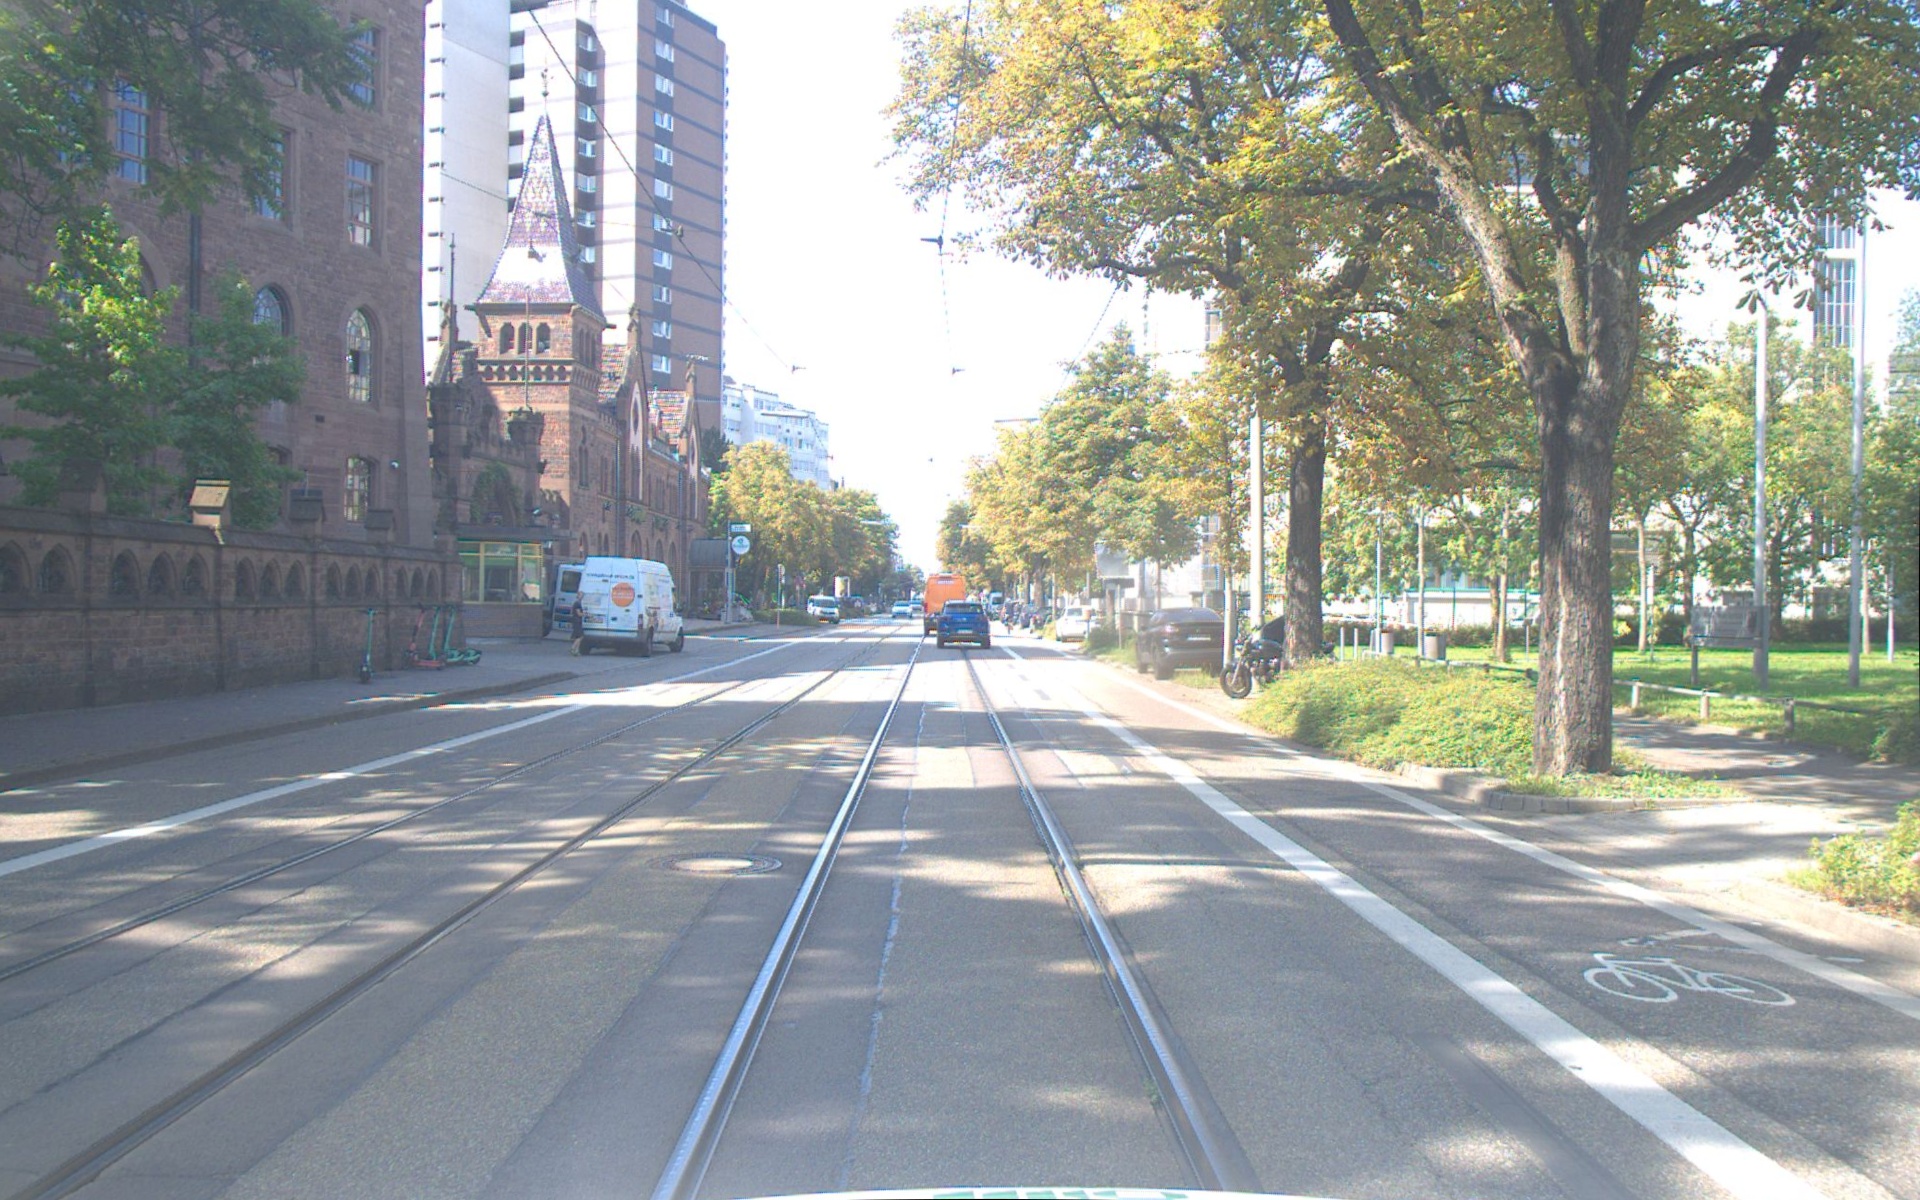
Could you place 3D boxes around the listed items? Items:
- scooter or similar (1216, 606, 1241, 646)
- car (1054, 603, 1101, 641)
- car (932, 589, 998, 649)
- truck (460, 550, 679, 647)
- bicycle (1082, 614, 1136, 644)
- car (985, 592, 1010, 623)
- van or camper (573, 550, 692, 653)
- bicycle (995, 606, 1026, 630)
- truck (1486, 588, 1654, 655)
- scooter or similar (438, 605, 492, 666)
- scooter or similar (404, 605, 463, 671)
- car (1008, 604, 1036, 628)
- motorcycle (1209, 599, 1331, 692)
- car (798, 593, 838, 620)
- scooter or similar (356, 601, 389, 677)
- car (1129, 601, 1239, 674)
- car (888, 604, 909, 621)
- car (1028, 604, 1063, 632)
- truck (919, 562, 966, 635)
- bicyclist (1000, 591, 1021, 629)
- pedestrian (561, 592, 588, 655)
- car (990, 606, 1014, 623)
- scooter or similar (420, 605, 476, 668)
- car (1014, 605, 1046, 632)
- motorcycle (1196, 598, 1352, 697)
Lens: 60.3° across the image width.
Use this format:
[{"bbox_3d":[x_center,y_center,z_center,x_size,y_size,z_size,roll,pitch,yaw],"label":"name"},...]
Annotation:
[{"bbox_3d":[8.720,0.826,53.747,0.544,1.281,1.818,1,0,2],"label":"scooter or similar"},{"bbox_3d":[4.860,0.894,68.762,1.625,1.507,4.216,0,0,0],"label":"car"},{"bbox_3d":[0.141,0.617,55.770,2.092,1.891,5.567,0,0,-1],"label":"car"},{"bbox_3d":[-12.165,-0.083,51.759,6.189,2.582,2.132,4,1,4],"label":"truck"},{"bbox_3d":[5.047,0.985,56.006,1.775,0.975,0.558,1,0,-1],"label":"bicycle"},{"bbox_3d":[3.473,0.666,152.978,1.953,2.804,5.759,1,0,-2],"label":"car"},{"bbox_3d":[-9.190,0.046,46.957,2.069,2.722,5.955,1,0,1],"label":"van or camper"},{"bbox_3d":[2.491,0.895,82.899,1.373,1.154,3.999,1,0,-1],"label":"bicycle"},{"bbox_3d":[22.709,0.777,61.734,5.393,2.367,2.299,1,0,0],"label":"truck"},{"bbox_3d":[-9.981,0.712,33.382,0.332,1.199,1.177,1,0,24],"label":"scooter or similar"},{"bbox_3d":[-9.883,0.708,31.077,0.332,1.199,1.177,1,0,24],"label":"scooter or similar"},{"bbox_3d":[4.155,1.056,111.780,1.600,1.612,4.187,1,0,-2],"label":"car"},{"bbox_3d":[5.392,0.764,28.925,0.839,1.542,2.436,1,0,-25],"label":"motorcycle"},{"bbox_3d":[-9.928,0.447,115.404,1.723,1.828,3.973,1,0,-22],"label":"car"},{"bbox_3d":[-9.507,0.613,26.782,0.413,1.199,1.311,1,0,-16],"label":"scooter or similar"},{"bbox_3d":[5.054,0.814,37.885,1.720,1.542,4.607,-1,0,-2],"label":"car"},{"bbox_3d":[-5.584,1.104,150.592,1.809,1.518,4.867,0,0,0],"label":"car"},{"bbox_3d":[4.495,0.964,87.137,1.625,1.432,4.216,0,0,0],"label":"car"},{"bbox_3d":[-0.793,-0.068,75.650,2.092,3.179,6.084,0,0,-1],"label":"truck"},{"bbox_3d":[2.531,0.505,82.873,1.011,1.844,1.016,1,0,-1],"label":"bicyclist"},{"bbox_3d":[-10.158,0.612,43.638,0.539,1.627,0.499,1,0,4],"label":"pedestrian"},{"bbox_3d":[3.594,1.253,142.384,1.869,1.457,4.291,1,0,-2],"label":"car"},{"bbox_3d":[-9.984,0.709,32.248,0.332,1.199,1.177,1,0,24],"label":"scooter or similar"},{"bbox_3d":[4.181,1.107,98.681,1.707,1.583,4.216,0,0,0],"label":"car"},{"bbox_3d":[5.151,0.757,27.221,2.407,1.542,0.849,1,0,38],"label":"motorcycle"}]
